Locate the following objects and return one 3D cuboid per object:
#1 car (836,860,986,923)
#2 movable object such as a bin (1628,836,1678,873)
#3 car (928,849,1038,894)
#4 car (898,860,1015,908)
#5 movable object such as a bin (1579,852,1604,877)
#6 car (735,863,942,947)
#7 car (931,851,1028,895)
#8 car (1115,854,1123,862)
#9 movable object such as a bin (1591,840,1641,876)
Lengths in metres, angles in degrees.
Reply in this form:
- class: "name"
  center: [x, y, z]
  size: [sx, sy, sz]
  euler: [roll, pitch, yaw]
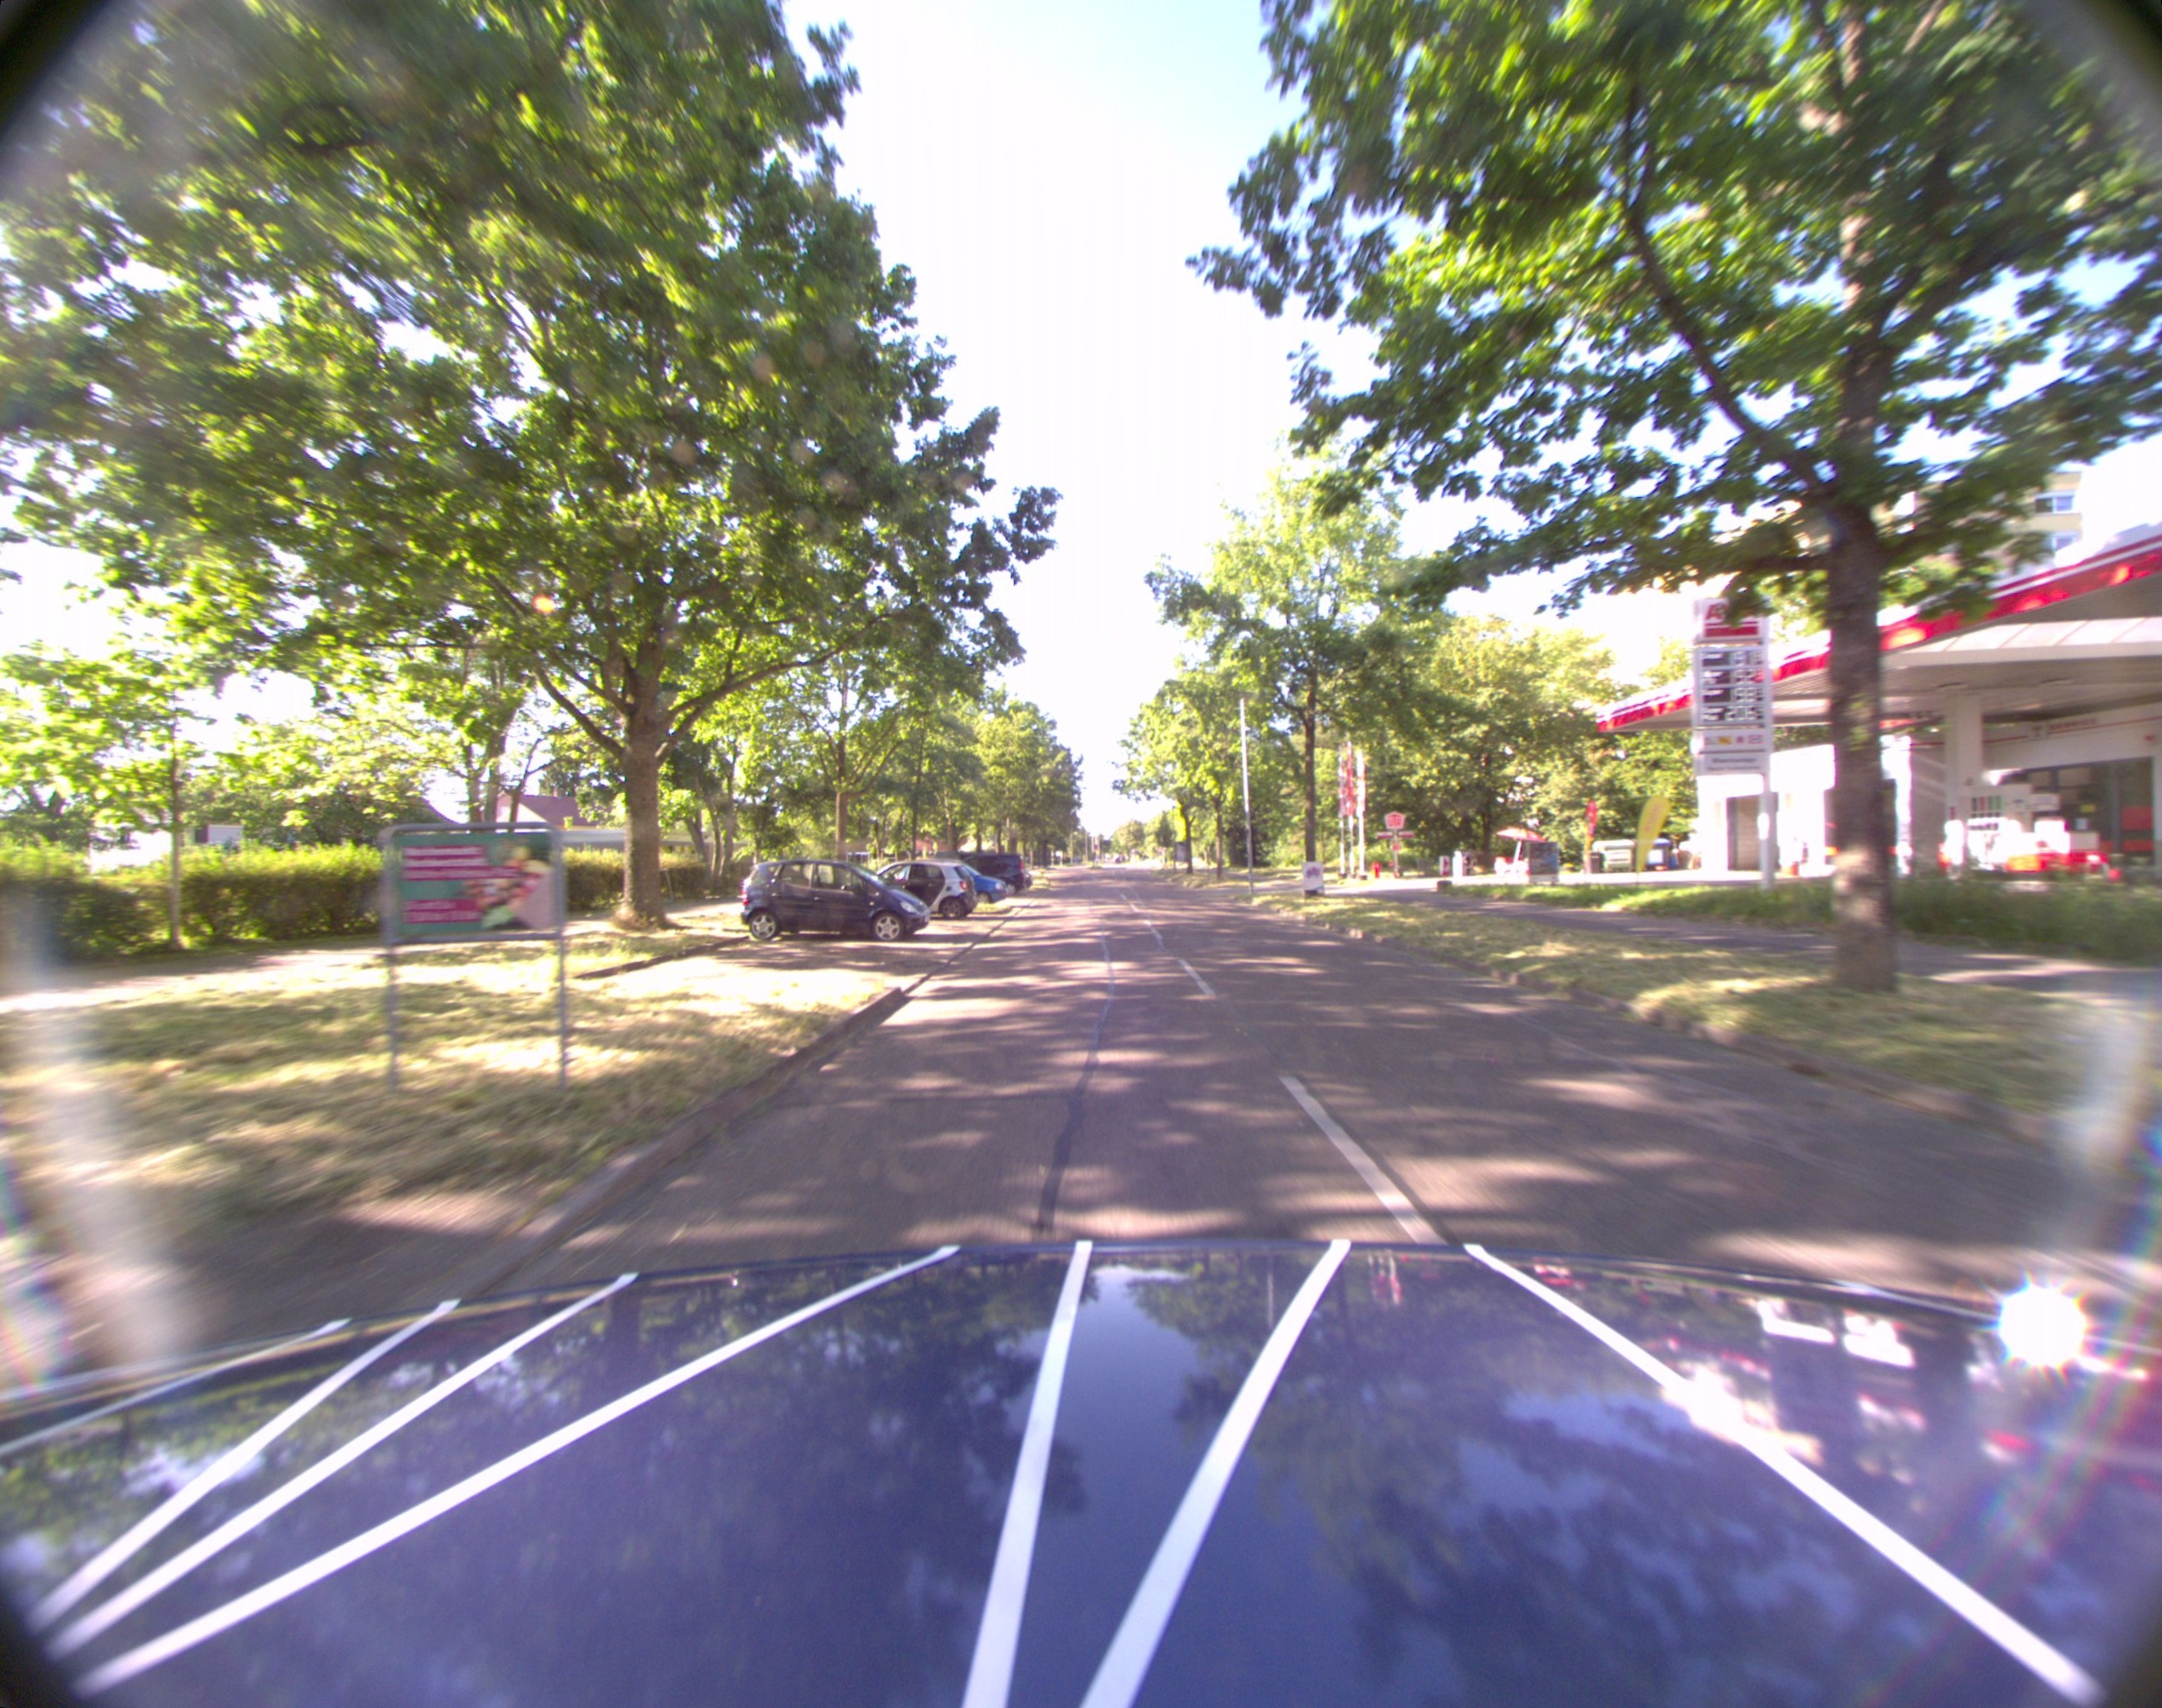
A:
- class: "car"
  center: [-4.476, 0.961, 20.358]
  size: [3.592, 1.567, 1.786]
  euler: [0, 0, 2]
- class: "movable object such as a bin"
  center: [25.235, 0.023, 33.557]
  size: [1.307, 1.533, 1.164]
  euler: [-3, 0, 1]
- class: "car"
  center: [-4.475, 0.785, 35.223]
  size: [4.815, 2.020, 1.944]
  euler: [0, 0, 0]
- class: "car"
  center: [-4.036, 0.958, 25.028]
  size: [3.529, 1.523, 1.665]
  euler: [0, 0, 2]
- class: "movable object such as a bin"
  center: [22.695, 0.455, 33.789]
  size: [0.570, 1.079, 0.768]
  euler: [-1, 0, 1]
- class: "car"
  center: [-4.794, 0.991, 15.428]
  size: [3.592, 1.567, 1.857]
  euler: [0, 0, 0]
- class: "car"
  center: [-4.331, 0.801, 32.833]
  size: [4.019, 1.826, 1.799]
  euler: [0, 0, -2]
- class: "car"
  center: [10.176, 0.957, 204.432]
  size: [1.904, 2.082, 3.641]
  euler: [1, 0, 1]
- class: "movable object such as a bin"
  center: [23.670, 0.171, 33.629]
  size: [1.307, 1.533, 1.268]
  euler: [-1, 0, 1]
